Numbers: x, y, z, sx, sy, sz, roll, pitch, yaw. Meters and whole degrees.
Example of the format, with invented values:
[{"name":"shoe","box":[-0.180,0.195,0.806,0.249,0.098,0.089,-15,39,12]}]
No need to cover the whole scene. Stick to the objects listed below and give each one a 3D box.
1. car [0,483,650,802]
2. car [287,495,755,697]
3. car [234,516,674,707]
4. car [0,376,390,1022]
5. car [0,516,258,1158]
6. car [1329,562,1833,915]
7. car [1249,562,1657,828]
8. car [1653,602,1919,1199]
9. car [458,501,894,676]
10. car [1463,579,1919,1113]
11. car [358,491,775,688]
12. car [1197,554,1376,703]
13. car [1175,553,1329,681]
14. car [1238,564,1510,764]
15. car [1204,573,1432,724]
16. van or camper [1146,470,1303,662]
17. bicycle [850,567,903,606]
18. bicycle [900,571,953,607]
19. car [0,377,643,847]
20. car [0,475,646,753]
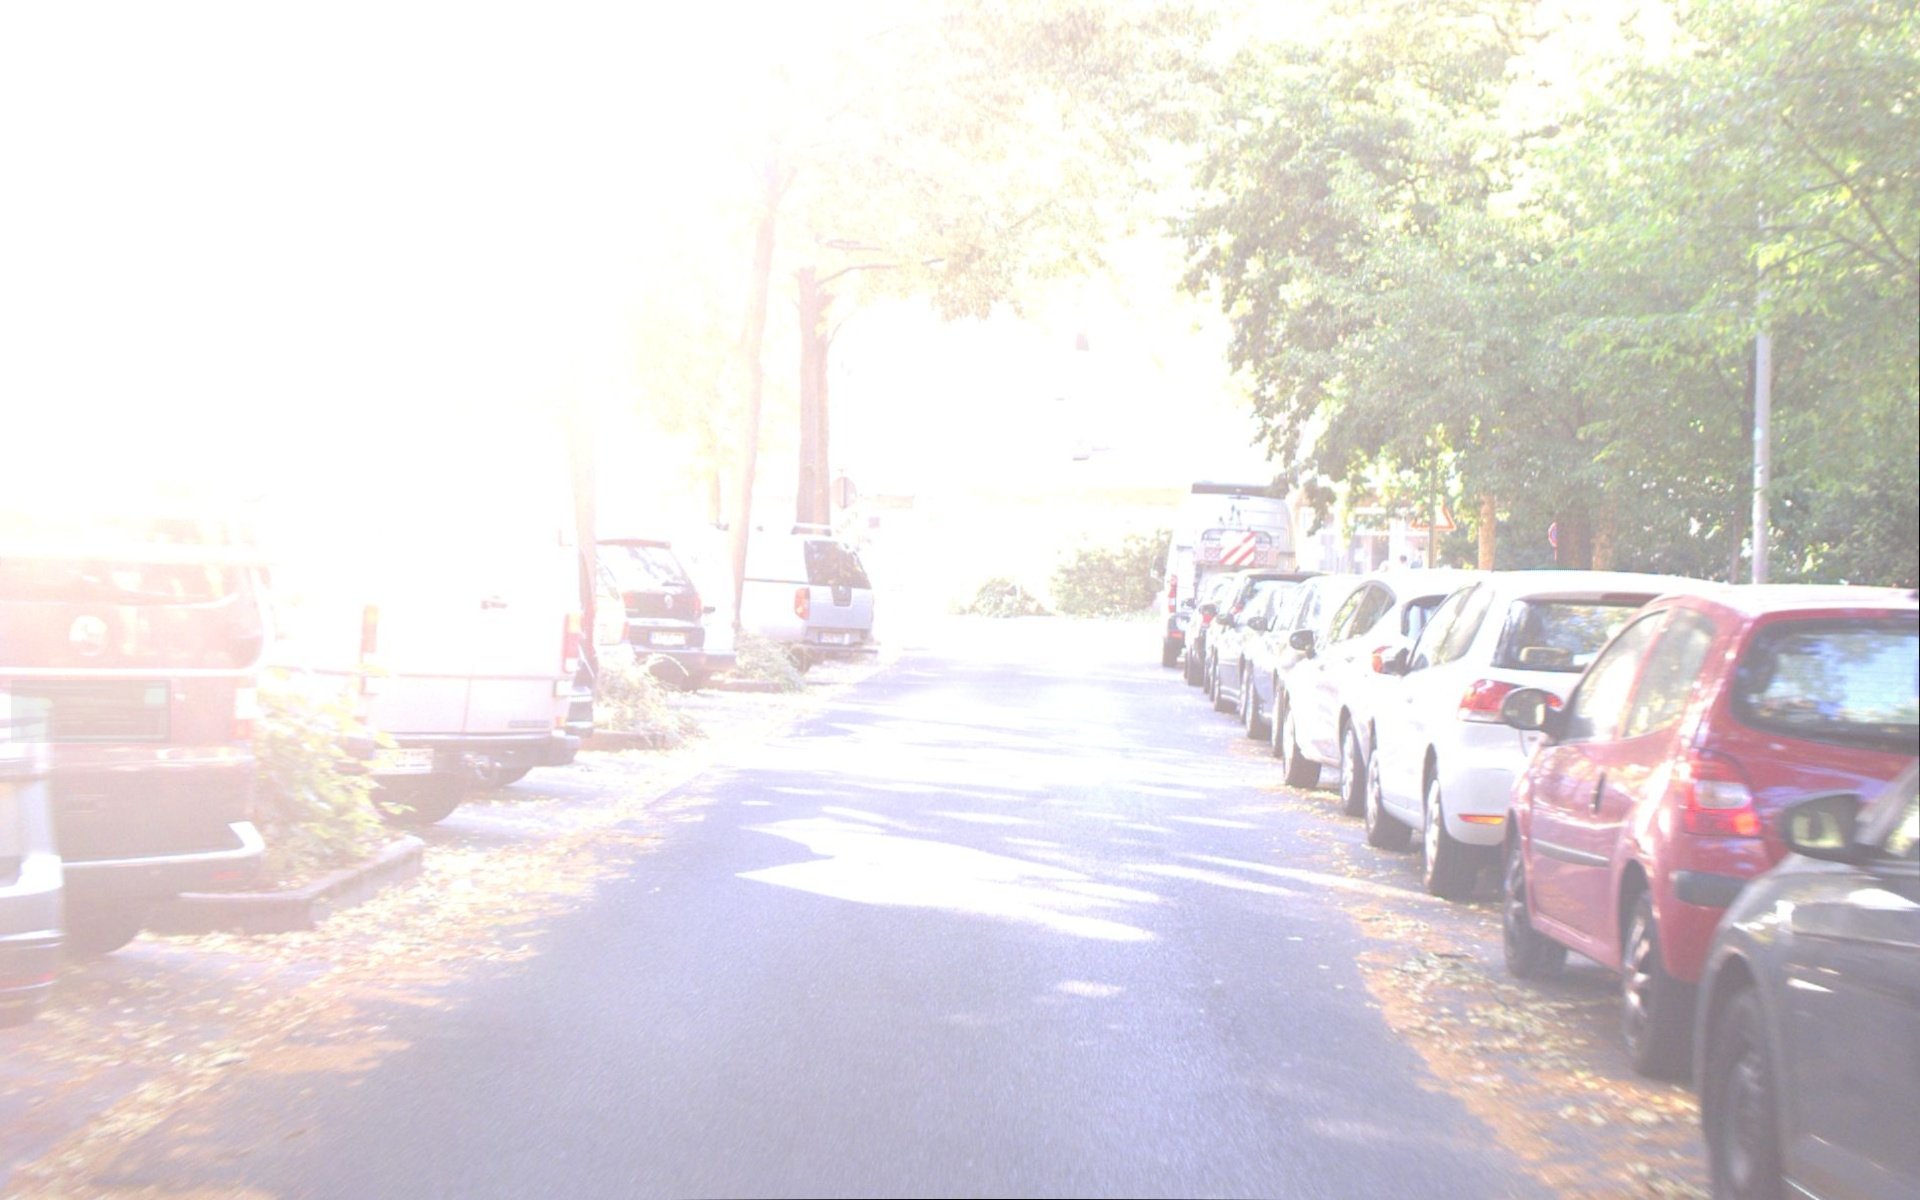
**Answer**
[{"name":"car","box":[-4.402,0.192,21.197,4.511,1.611,1.932,4,1,25]},{"name":"car","box":[-4.285,-0.048,33.351,4.155,1.638,1.911,5,1,33]},{"name":"car","box":[-4.512,0.097,30.622,3.423,1.421,1.830,5,1,32]},{"name":"car","box":[-4.476,0.164,12.098,4.708,1.936,1.931,5,1,34]},{"name":"car","box":[-4.292,0.420,9.338,4.566,1.535,1.931,5,1,34]},{"name":"car","box":[2.862,0.567,16.678,1.680,1.449,4.076,1,1,0]},{"name":"car","box":[2.966,0.519,21.510,1.680,1.449,4.077,1,1,-4]},{"name":"car","box":[2.498,0.778,6.054,1.672,1.449,3.949,1,1,-1]},{"name":"car","box":[-3.529,-0.150,42.453,4.994,1.775,1.984,4,1,29]},{"name":"car","box":[2.739,0.689,11.404,1.591,1.449,3.555,1,1,0]},{"name":"car","box":[-4.216,-0.127,36.573,4.156,1.775,1.880,5,1,37]},{"name":"car","box":[3.589,0.273,38.406,1.680,1.520,4.287,1,1,2]},{"name":"car","box":[3.704,0.183,44.219,1.680,1.520,4.489,1,1,2]},{"name":"car","box":[3.233,0.445,27.640,1.680,1.419,4.659,1,1,1]},{"name":"car","box":[3.351,0.420,32.878,1.680,1.279,4.287,1,1,0]},{"name":"van or camper","box":[4.021,-0.543,53.154,2.084,2.753,5.845,1,1,2]},{"name":"bicycle","box":[-2.245,-0.360,92.301,0.638,1.019,2.089,1,1,-25]},{"name":"bicycle","box":[-0.888,-0.295,90.196,0.542,0.901,1.736,1,1,-33]},{"name":"car","box":[-4.618,-0.060,18.447,5.506,2.130,2.077,4,1,30]},{"name":"car","box":[-4.663,0.073,24.494,4.513,1.611,1.850,5,1,30]}]
